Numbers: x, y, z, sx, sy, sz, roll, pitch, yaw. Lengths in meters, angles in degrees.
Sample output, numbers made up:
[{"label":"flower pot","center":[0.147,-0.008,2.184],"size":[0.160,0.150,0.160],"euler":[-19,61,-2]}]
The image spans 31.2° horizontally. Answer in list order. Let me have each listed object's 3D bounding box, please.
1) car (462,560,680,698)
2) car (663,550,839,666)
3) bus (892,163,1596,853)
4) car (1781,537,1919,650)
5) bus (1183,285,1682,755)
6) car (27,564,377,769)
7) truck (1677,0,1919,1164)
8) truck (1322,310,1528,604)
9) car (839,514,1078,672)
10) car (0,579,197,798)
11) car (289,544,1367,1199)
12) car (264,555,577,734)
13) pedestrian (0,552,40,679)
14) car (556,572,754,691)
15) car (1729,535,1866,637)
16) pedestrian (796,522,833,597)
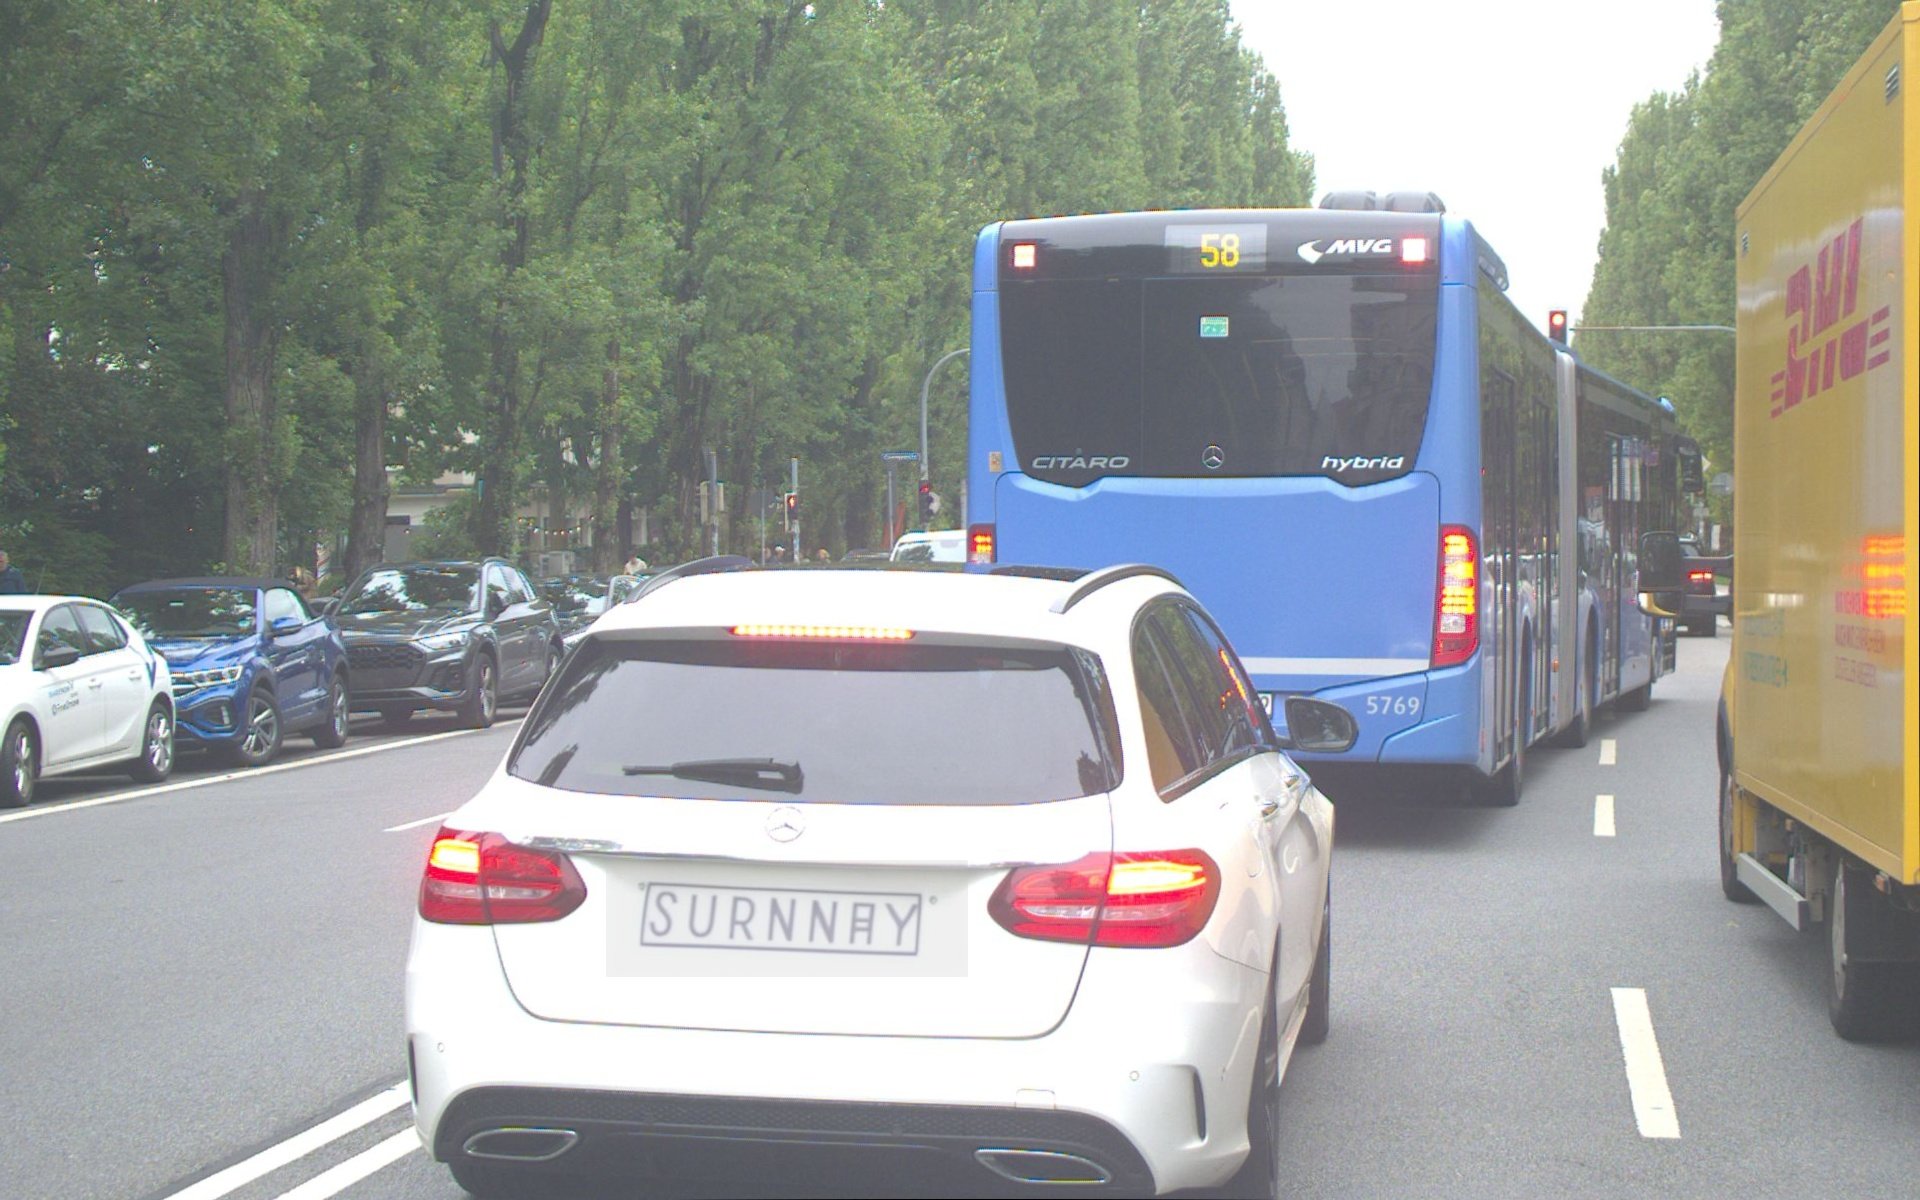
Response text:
[{"label":"car","center":[-4.514,0.303,40.407],"size":[1.540,1.428,3.868],"euler":[-4,0,8]},{"label":"car","center":[-2.934,0.089,49.128],"size":[1.709,1.542,3.999],"euler":[-1,1,8]},{"label":"bus","center":[2.129,-0.522,20.685],"size":[2.857,3.202,9.054],"euler":[0,1,14]},{"label":"car","center":[12.470,-0.117,47.495],"size":[1.799,1.470,3.999],"euler":[-1,1,8]},{"label":"bus","center":[4.328,-0.647,29.196],"size":[2.874,3.292,9.782],"euler":[0,1,16]},{"label":"car","center":[-6.275,0.503,28.925],"size":[1.743,1.513,4.118],"euler":[-2,1,4]},{"label":"truck","center":[3.871,-0.156,11.763],"size":[2.328,2.888,7.331],"euler":[0,1,8]},{"label":"truck","center":[6.869,-2.026,51.312],"size":[2.716,3.951,9.216],"euler":[-1,1,7]},{"label":"car","center":[0.074,-0.134,45.863],"size":[2.183,1.885,5.694],"euler":[-2,1,10]},{"label":"car","center":[-6.990,0.616,24.496],"size":[1.685,1.408,4.003],"euler":[-2,1,8]},{"label":"car","center":[-0.001,0.588,8.615],"size":[1.826,1.449,4.581],"euler":[0,1,9]},{"label":"car","center":[-5.268,0.390,34.155],"size":[1.791,1.542,4.337],"euler":[-4,0,8]},{"label":"pedestrian","center":[-13.151,0.211,47.505],"size":[0.600,1.733,0.640],"euler":[-1,1,9]},{"label":"car","center":[-3.914,0.382,44.721],"size":[1.676,1.408,3.999],"euler":[-1,1,8]},{"label":"car","center":[14.015,-0.260,57.681],"size":[1.809,1.612,3.999],"euler":[-1,1,8]},{"label":"pedestrian","center":[-3.943,-1.106,93.202],"size":[0.830,2.007,0.777],"euler":[-1,1,7]}]
